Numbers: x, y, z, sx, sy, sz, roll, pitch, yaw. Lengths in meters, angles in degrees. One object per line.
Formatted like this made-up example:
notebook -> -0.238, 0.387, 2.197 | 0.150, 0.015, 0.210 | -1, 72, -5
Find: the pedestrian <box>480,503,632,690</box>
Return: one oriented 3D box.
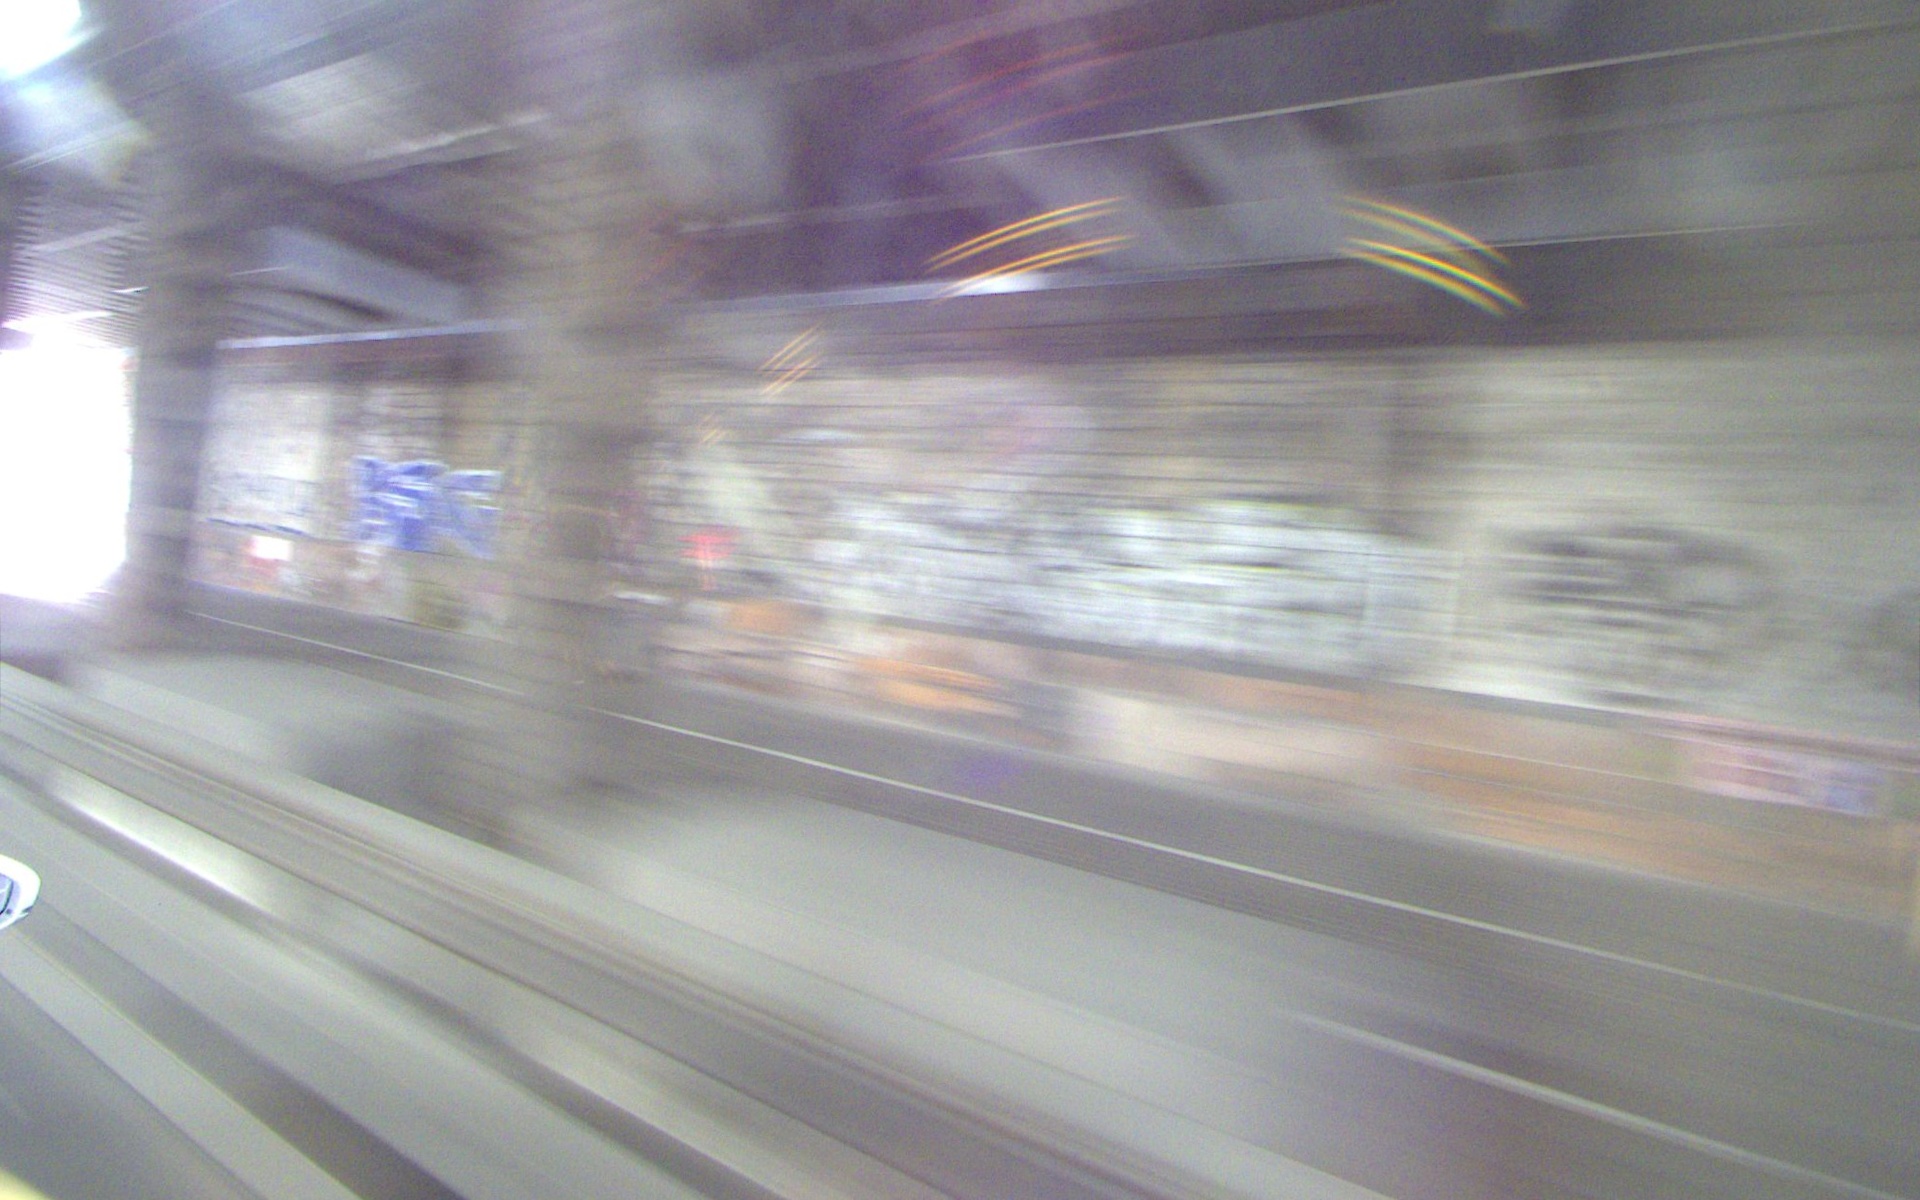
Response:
pedestrian -> -4.074, -0.039, 10.159 | 1.092, 1.724, 0.800 | 7, 2, 31
